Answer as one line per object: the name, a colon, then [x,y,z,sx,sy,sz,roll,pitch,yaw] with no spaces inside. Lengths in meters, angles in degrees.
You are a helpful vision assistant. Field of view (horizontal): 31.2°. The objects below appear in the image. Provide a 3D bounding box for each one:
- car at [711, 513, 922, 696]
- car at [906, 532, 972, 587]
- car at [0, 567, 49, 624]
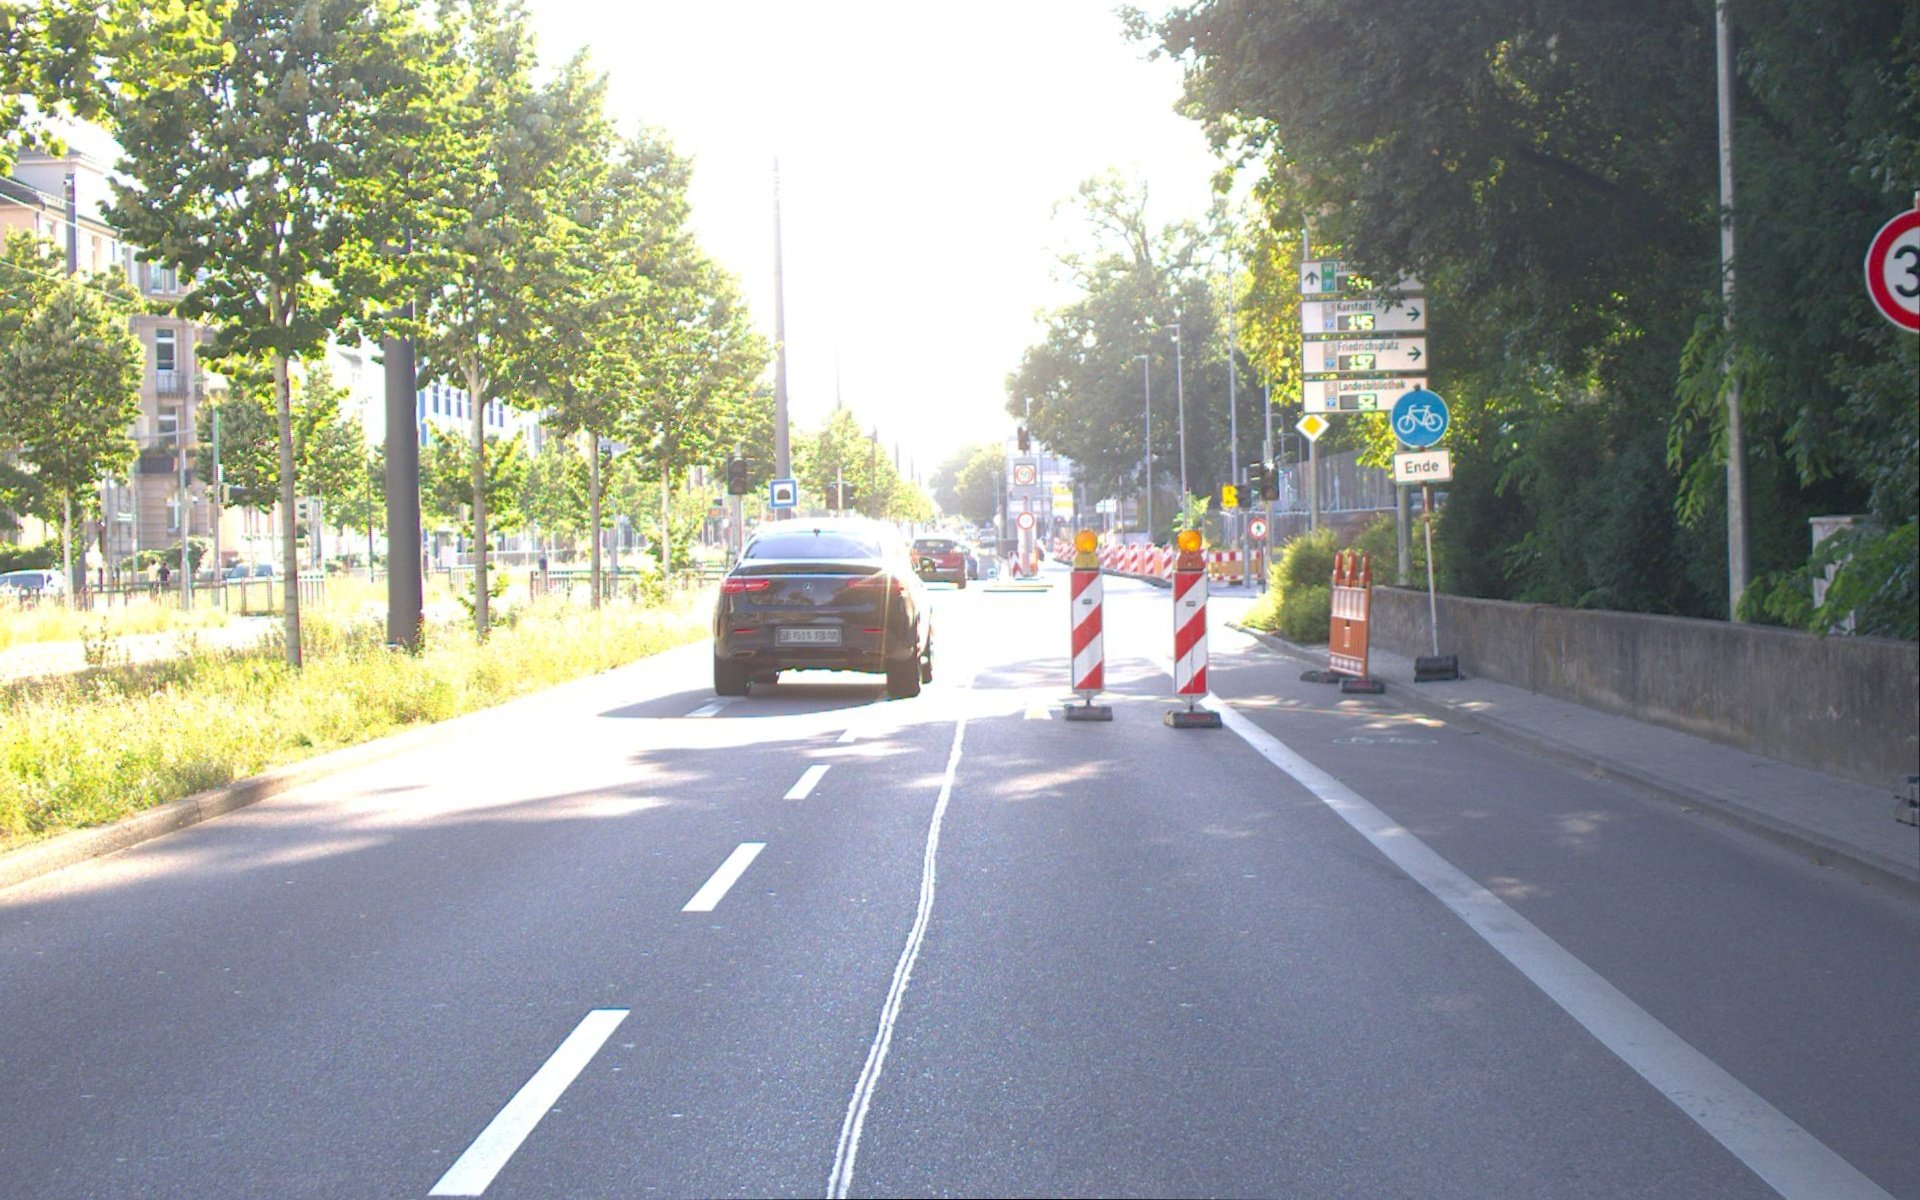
car: [-1.446,-0.003,34.655,1.993,1.728,4.001,0,1,-2]
car: [-0.607,-1.219,102.121,1.886,1.575,4.000,0,2,0]
car: [-24.805,-0.102,88.176,1.933,1.392,3.688,-1,1,-2]
